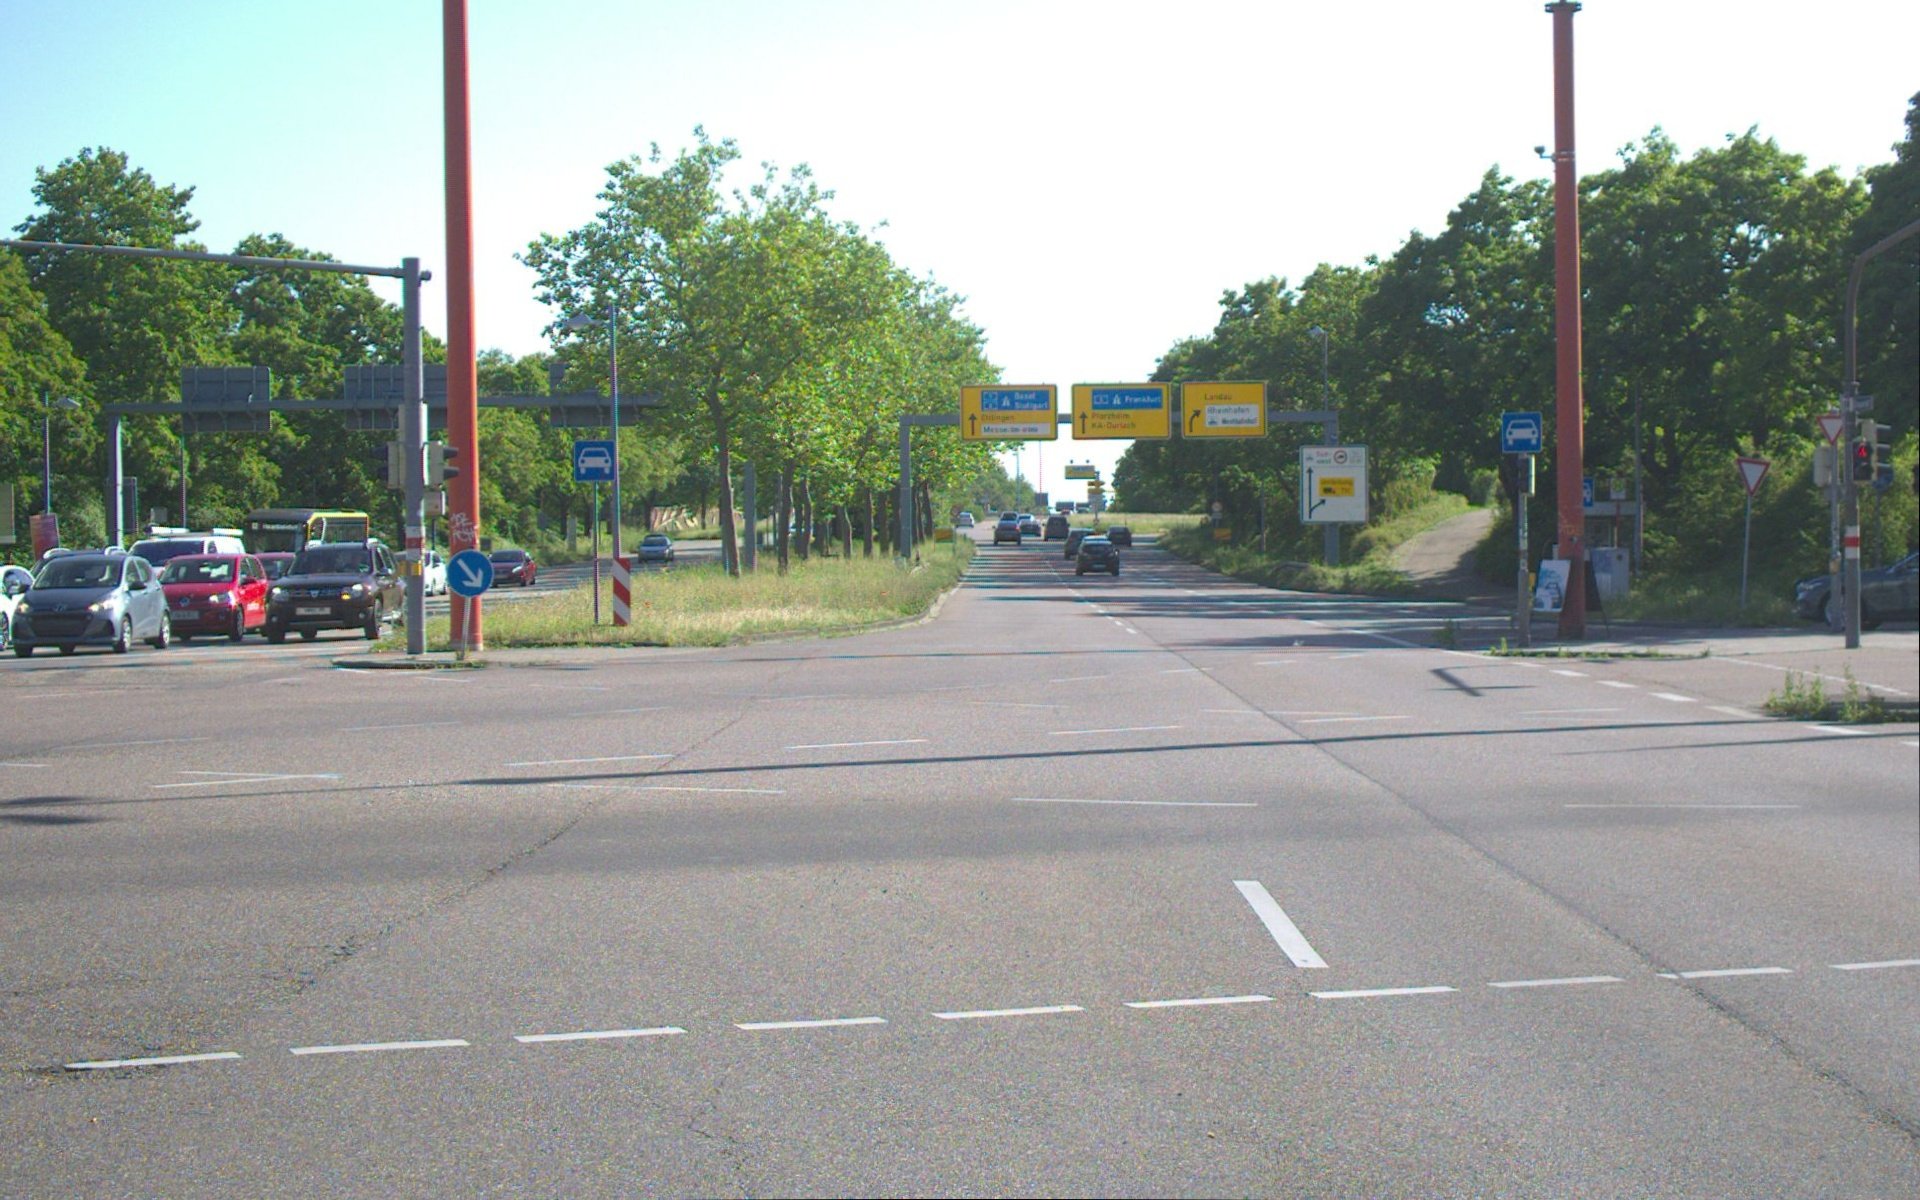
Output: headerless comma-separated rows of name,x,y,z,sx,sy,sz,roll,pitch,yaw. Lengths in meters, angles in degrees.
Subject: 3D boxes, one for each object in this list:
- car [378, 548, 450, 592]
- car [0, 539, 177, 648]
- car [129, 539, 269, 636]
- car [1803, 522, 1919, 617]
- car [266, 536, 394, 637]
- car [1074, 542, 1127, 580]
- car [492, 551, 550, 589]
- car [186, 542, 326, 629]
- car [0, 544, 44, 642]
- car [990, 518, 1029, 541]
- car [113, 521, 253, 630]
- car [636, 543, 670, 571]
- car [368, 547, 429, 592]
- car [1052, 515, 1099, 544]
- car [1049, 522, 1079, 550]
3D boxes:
car,-18.583,-1.028,117.158,1.884,1.449,3.656,-1,1,0
car,-13.253,-0.131,52.169,1.993,1.568,4.121,-1,1,-3
car,-12.899,-0.235,58.471,1.993,1.568,4.122,-1,1,-8
car,16.647,-0.524,57.541,4.574,1.568,2.163,0,1,27
car,-10.248,-0.244,56.150,1.876,1.568,4.122,-1,1,-8
car,5.978,-1.660,146.502,2.159,1.568,4.281,-1,1,1
car,-17.360,-1.200,136.149,1.821,1.449,3.656,-1,1,0
car,-13.117,-0.295,64.250,1.993,1.568,4.121,-1,1,-4
car,-16.489,-0.117,57.038,1.993,1.568,4.122,-2,1,-8
car,3.359,-4.796,234.105,2.245,1.568,4.282,-1,1,-5
car,-16.115,-0.527,71.511,2.062,2.185,4.379,-1,1,-2
car,-17.532,-2.482,196.551,1.876,1.568,3.948,-1,1,-5
car,-20.416,-1.129,125.149,1.876,1.568,4.121,-1,1,-5
car,6.387,-3.899,190.005,2.158,1.568,4.281,-1,1,-4
car,7.553,-4.679,250.015,1.993,2.007,4.000,-1,1,-1
